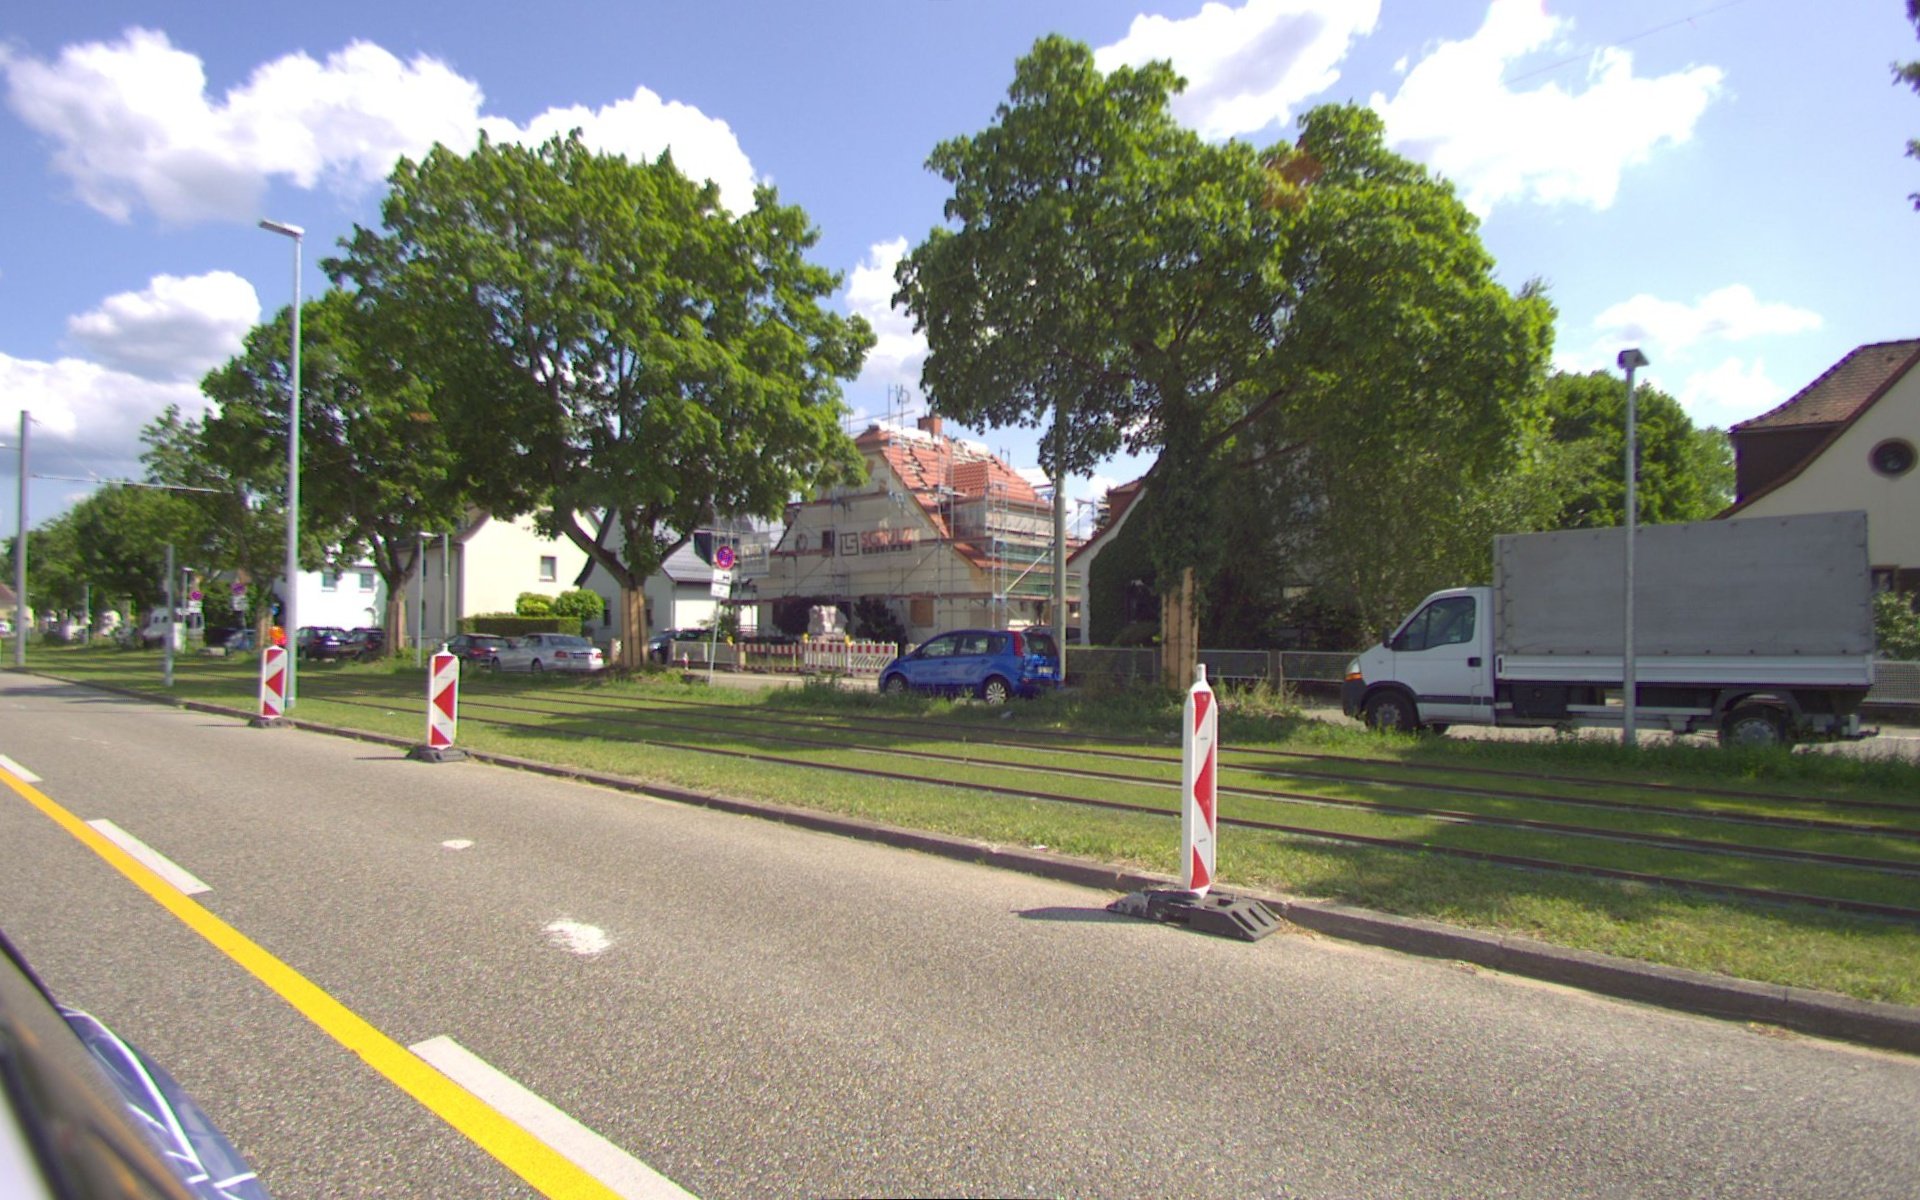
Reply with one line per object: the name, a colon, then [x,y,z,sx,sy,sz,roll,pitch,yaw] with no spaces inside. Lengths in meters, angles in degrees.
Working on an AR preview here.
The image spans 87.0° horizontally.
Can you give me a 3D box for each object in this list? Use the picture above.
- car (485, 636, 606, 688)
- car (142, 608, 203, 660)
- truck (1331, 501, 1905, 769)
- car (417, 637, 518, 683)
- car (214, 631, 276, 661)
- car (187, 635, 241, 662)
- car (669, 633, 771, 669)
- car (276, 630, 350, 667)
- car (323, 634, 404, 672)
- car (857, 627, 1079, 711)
car: [-13.089,1.937,31.862,4.520,1.497,1.765,-4,-3,42]
car: [-49.513,2.171,63.601,5.080,3.061,2.108,-3,-3,41]
truck: [8.304,0.457,13.399,5.971,2.802,2.242,-2,-3,41]
car: [-17.516,2.125,35.889,4.403,1.497,1.680,-3,-3,41]
car: [-37.490,2.436,53.044,4.403,1.497,1.680,-3,-3,41]
car: [-44.473,2.885,60.324,4.403,1.497,1.680,-3,-3,41]
car: [-10.922,2.299,46.207,1.702,1.497,4.345,-3,-3,41]
car: [-29.490,2.232,46.069,4.403,1.584,1.680,-3,-3,41]
car: [-25.175,2.260,42.646,4.403,1.497,1.680,-3,-3,41]
car: [0.071,1.356,20.276,4.403,1.497,1.680,-3,-3,41]
